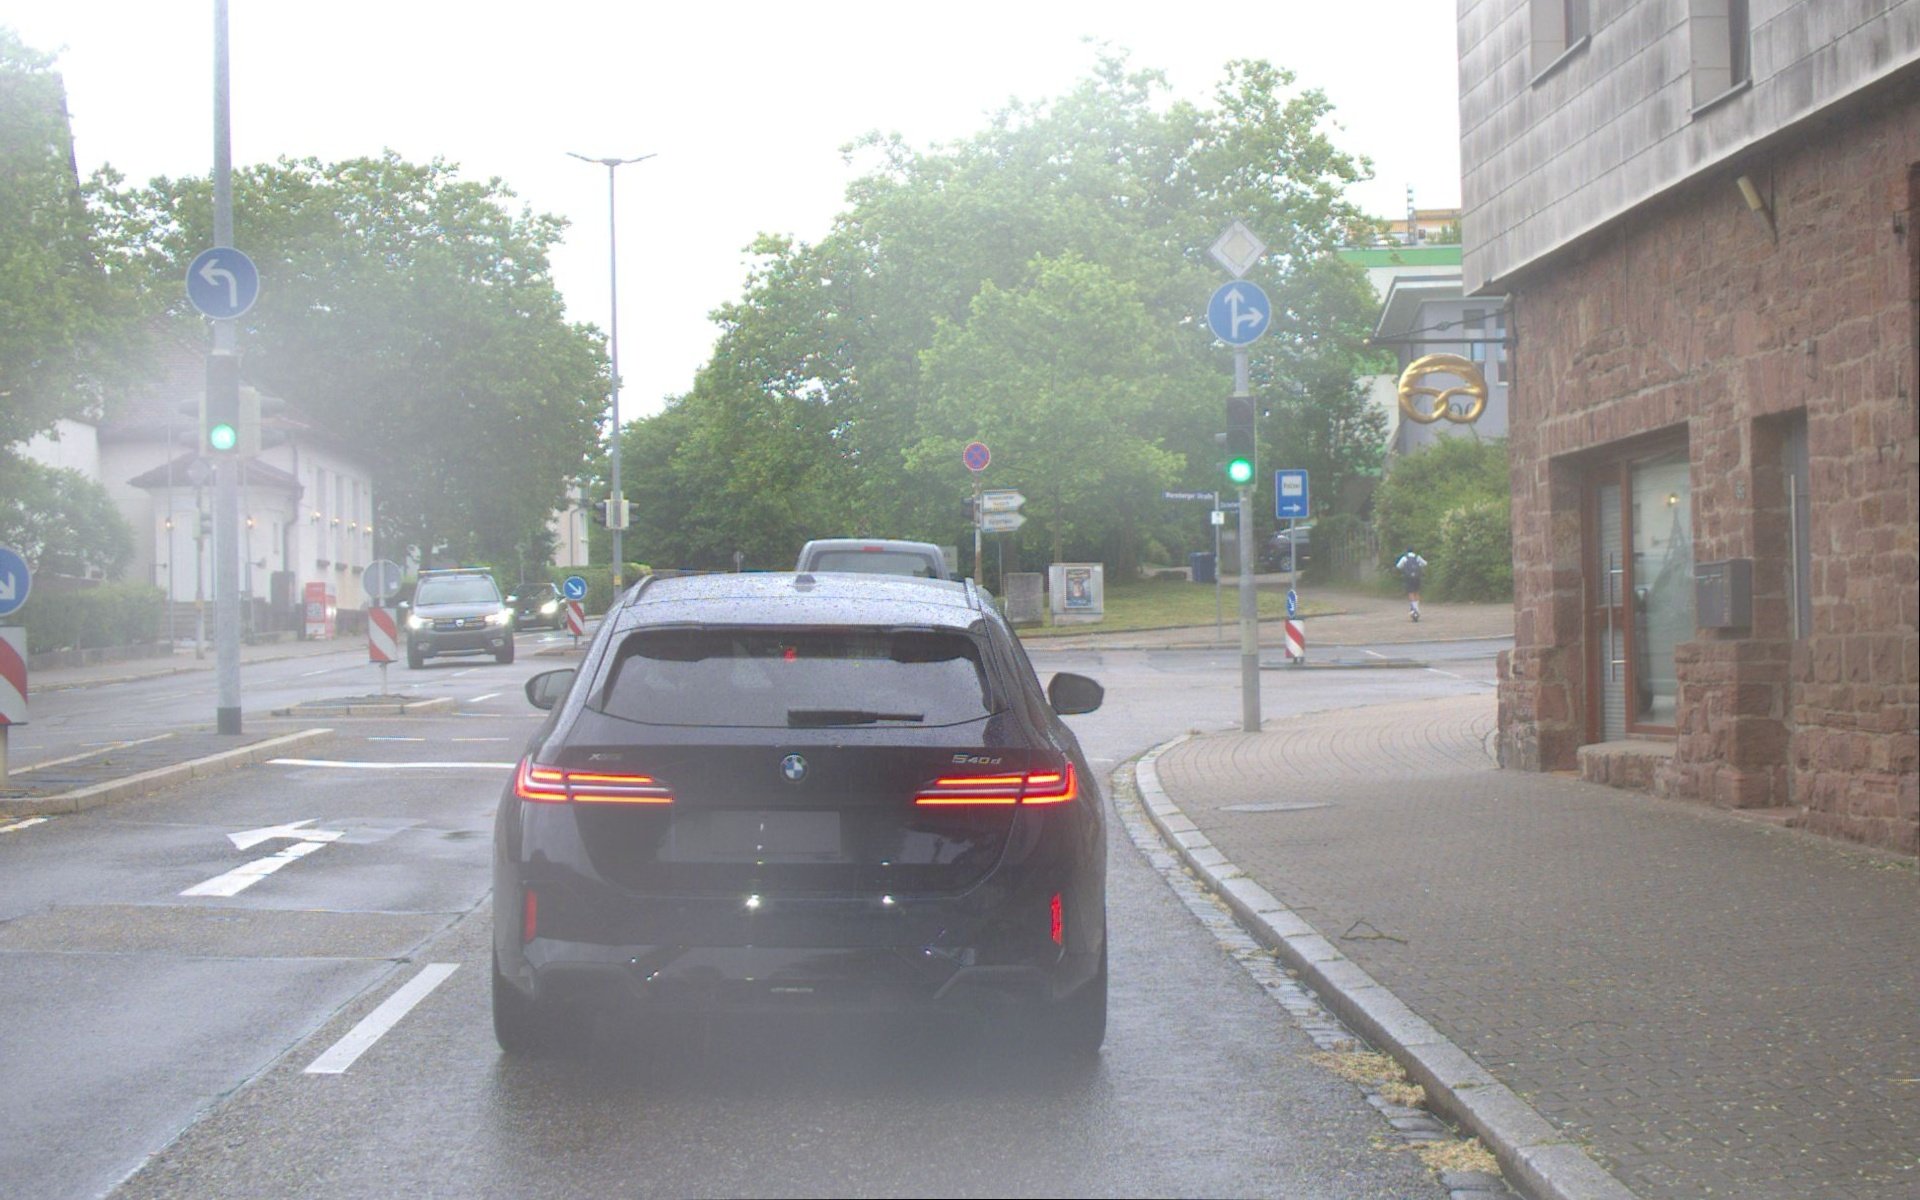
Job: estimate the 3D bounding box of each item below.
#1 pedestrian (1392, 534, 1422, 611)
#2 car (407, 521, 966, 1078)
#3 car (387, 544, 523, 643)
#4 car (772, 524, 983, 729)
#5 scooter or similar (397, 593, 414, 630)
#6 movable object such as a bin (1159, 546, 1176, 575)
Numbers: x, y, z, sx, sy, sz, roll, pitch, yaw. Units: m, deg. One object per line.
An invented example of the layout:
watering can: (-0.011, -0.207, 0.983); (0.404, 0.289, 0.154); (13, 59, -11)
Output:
pedestrian: (9.488, -0.584, 73.013); (0.600, 1.611, 0.525); (1, 0, 6)
car: (-0.870, 0.558, 11.298); (1.523, 1.529, 3.532); (1, 0, -4)
car: (-8.521, -0.140, 58.355); (1.898, 1.572, 4.503); (-1, 1, -4)
car: (-0.836, 0.237, 32.461); (1.812, 1.802, 3.757); (1, 0, -4)
scooter or similar: (-16.304, 0.333, 101.127); (0.389, 1.061, 1.410); (1, 0, -5)
movable object such as a bin: (6.743, -1.282, 111.743); (0.450, 0.902, 0.462); (1, 0, 15)
